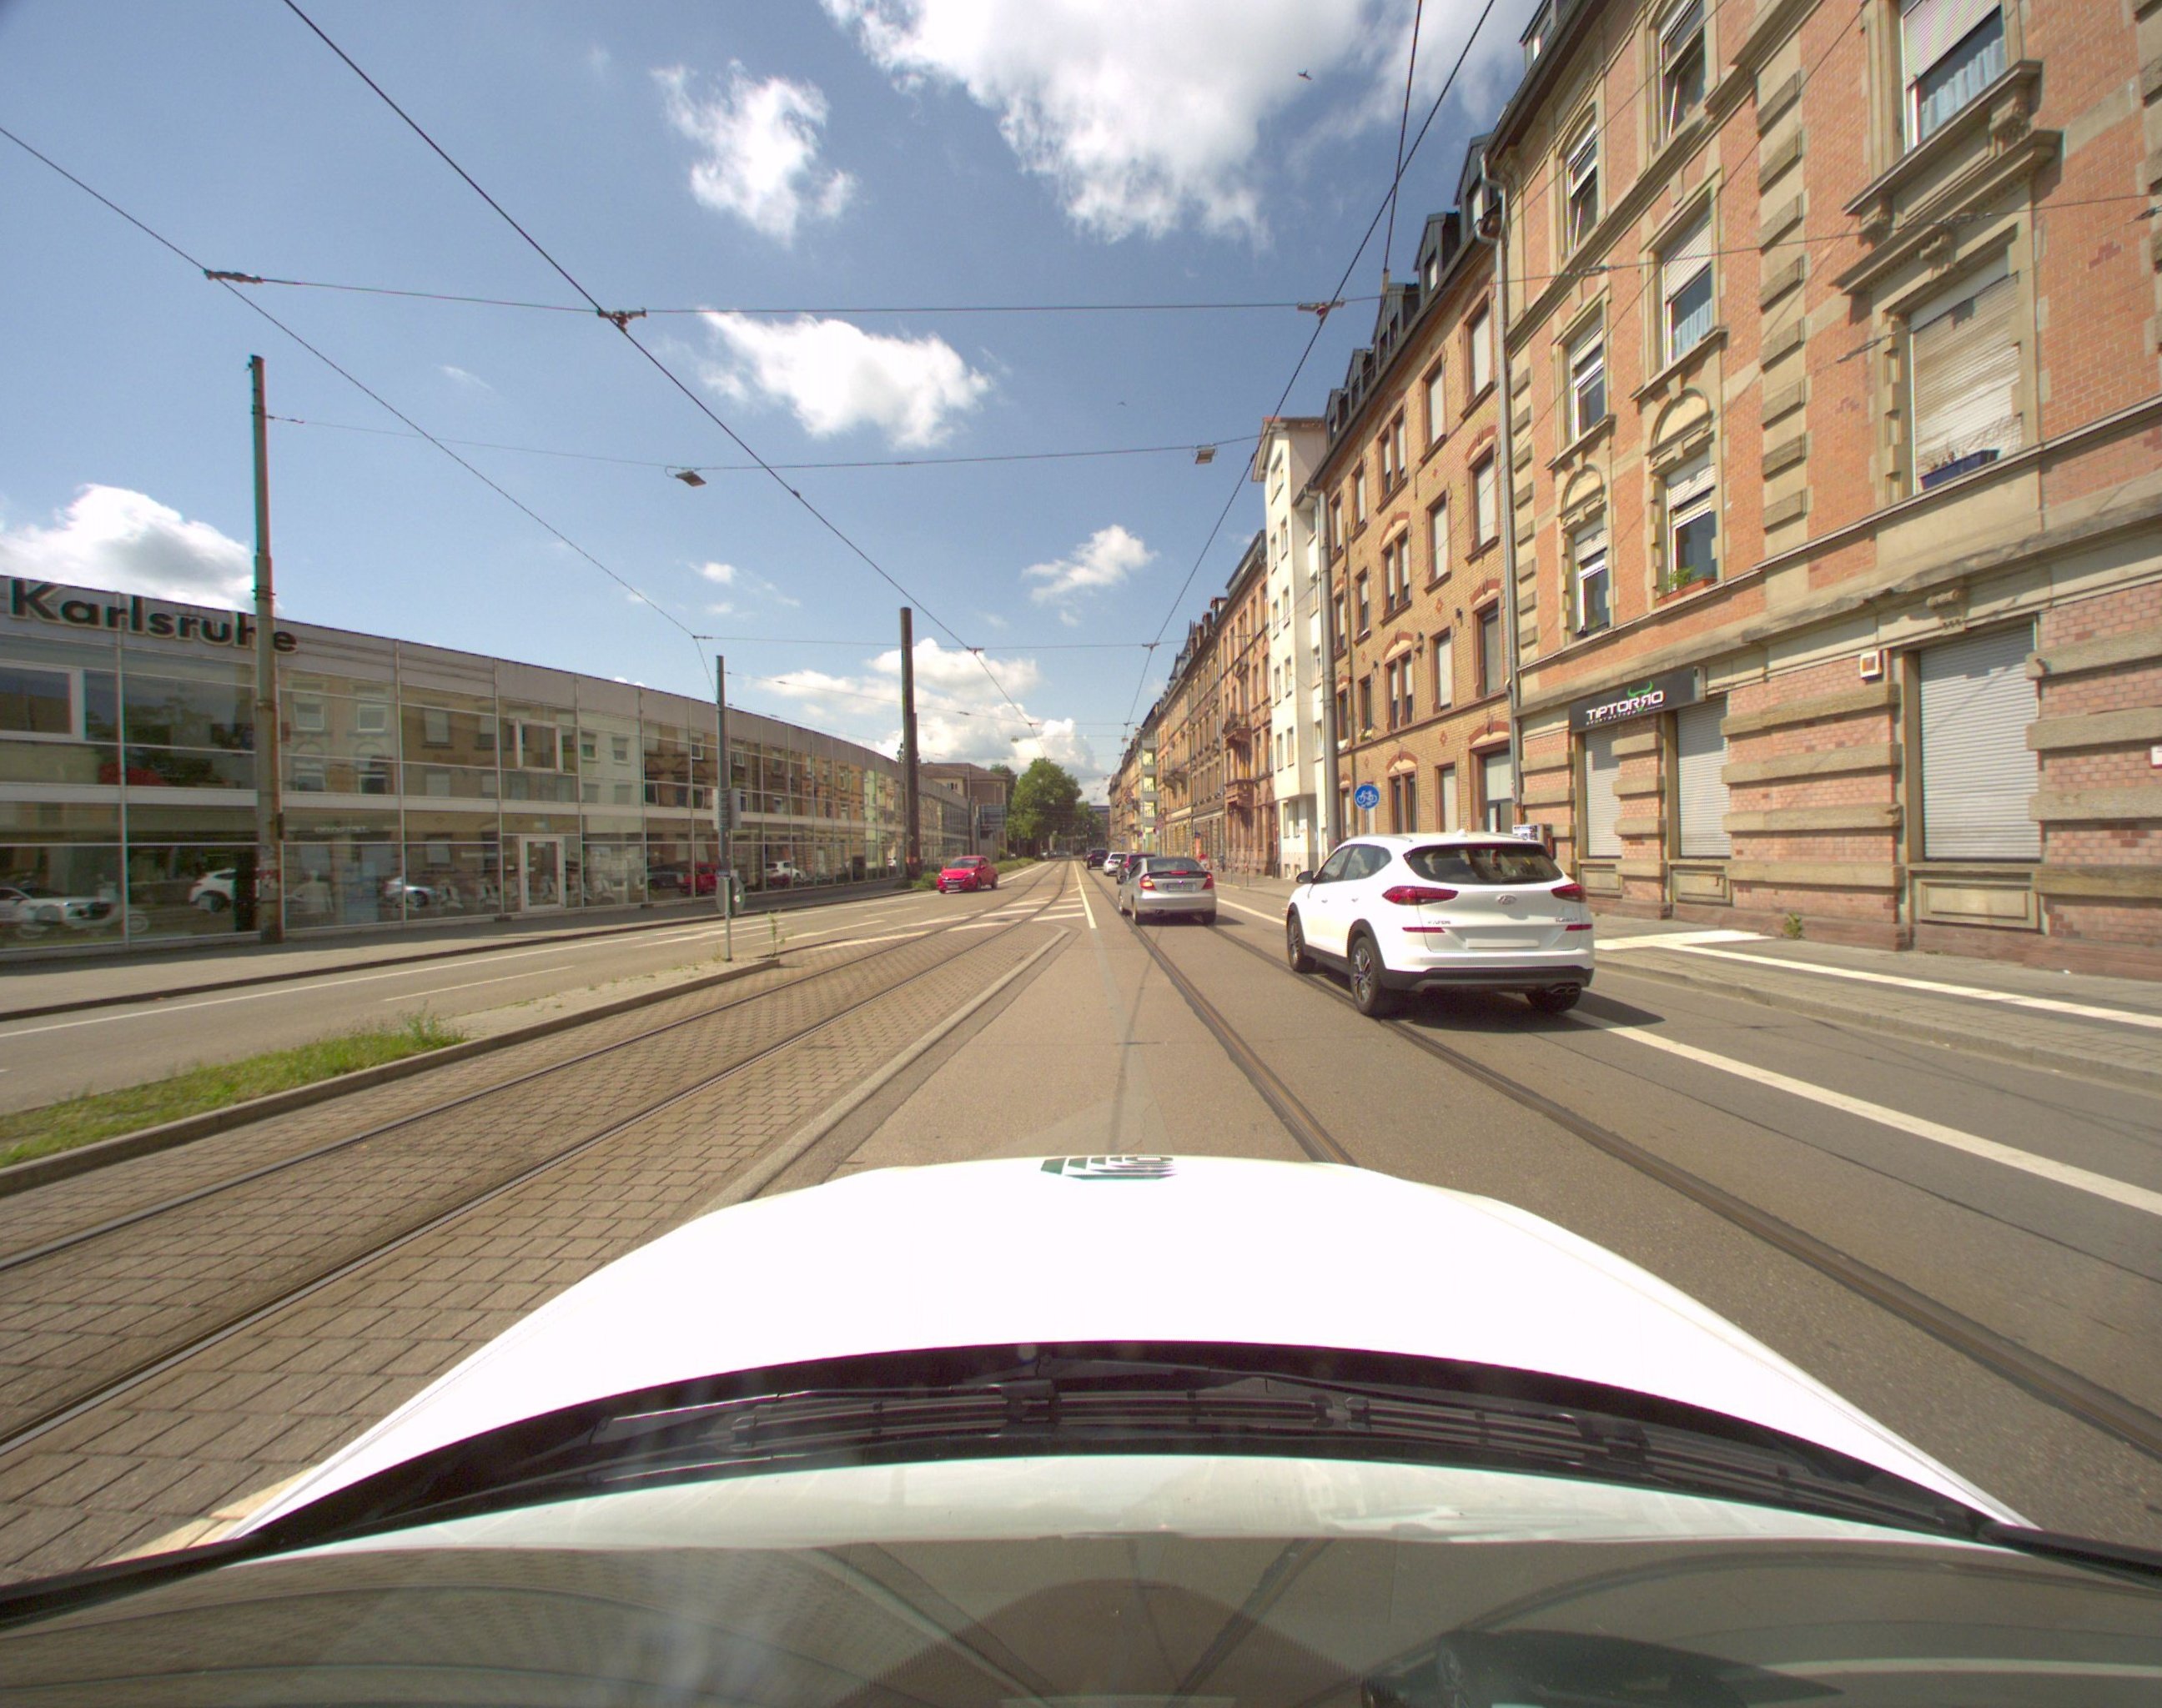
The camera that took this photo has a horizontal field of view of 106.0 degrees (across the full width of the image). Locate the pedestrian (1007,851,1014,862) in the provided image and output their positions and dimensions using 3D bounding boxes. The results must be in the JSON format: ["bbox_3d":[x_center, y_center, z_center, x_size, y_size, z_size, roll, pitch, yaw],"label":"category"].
[{"bbox_3d":[-11.847,0.420,136.667,0.877,1.865,1.080,-3,0,-1],"label":"pedestrian"}]

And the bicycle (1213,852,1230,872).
[{"bbox_3d":[8.553,0.459,49.630,0.584,1.178,2.205,-2,0,0],"label":"bicycle"}]

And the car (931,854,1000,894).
[{"bbox_3d":[-4.780,0.791,34.196,1.692,1.428,3.912,-3,1,9],"label":"car"}]

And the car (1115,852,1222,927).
[{"bbox_3d":[1.810,0.707,18.171,1.809,1.420,4.185,-2,0,-2],"label":"car"}]

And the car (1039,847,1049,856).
[{"bbox_3d":[-7.946,-0.555,173.873,1.944,1.895,4.563,-1,0,-1],"label":"car"}]

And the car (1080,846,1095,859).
[{"bbox_3d":[0.897,-0.240,118.520,1.988,1.859,3.997,-2,0,-2],"label":"car"}]

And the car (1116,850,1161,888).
[{"bbox_3d":[2.445,0.598,35.647,1.807,1.524,4.087,-2,0,2],"label":"car"}]

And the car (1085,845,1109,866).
[{"bbox_3d":[1.334,0.111,69.174,1.809,1.661,4.084,-2,0,-1],"label":"car"}]

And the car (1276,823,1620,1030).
[{"bbox_3d":[3.428,0.595,8.598,1.845,1.634,4.182,-1,0,2],"label":"car"}]

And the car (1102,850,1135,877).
[{"bbox_3d":[2.288,0.541,50.584,1.809,1.524,3.954,-2,1,-1],"label":"car"}]
